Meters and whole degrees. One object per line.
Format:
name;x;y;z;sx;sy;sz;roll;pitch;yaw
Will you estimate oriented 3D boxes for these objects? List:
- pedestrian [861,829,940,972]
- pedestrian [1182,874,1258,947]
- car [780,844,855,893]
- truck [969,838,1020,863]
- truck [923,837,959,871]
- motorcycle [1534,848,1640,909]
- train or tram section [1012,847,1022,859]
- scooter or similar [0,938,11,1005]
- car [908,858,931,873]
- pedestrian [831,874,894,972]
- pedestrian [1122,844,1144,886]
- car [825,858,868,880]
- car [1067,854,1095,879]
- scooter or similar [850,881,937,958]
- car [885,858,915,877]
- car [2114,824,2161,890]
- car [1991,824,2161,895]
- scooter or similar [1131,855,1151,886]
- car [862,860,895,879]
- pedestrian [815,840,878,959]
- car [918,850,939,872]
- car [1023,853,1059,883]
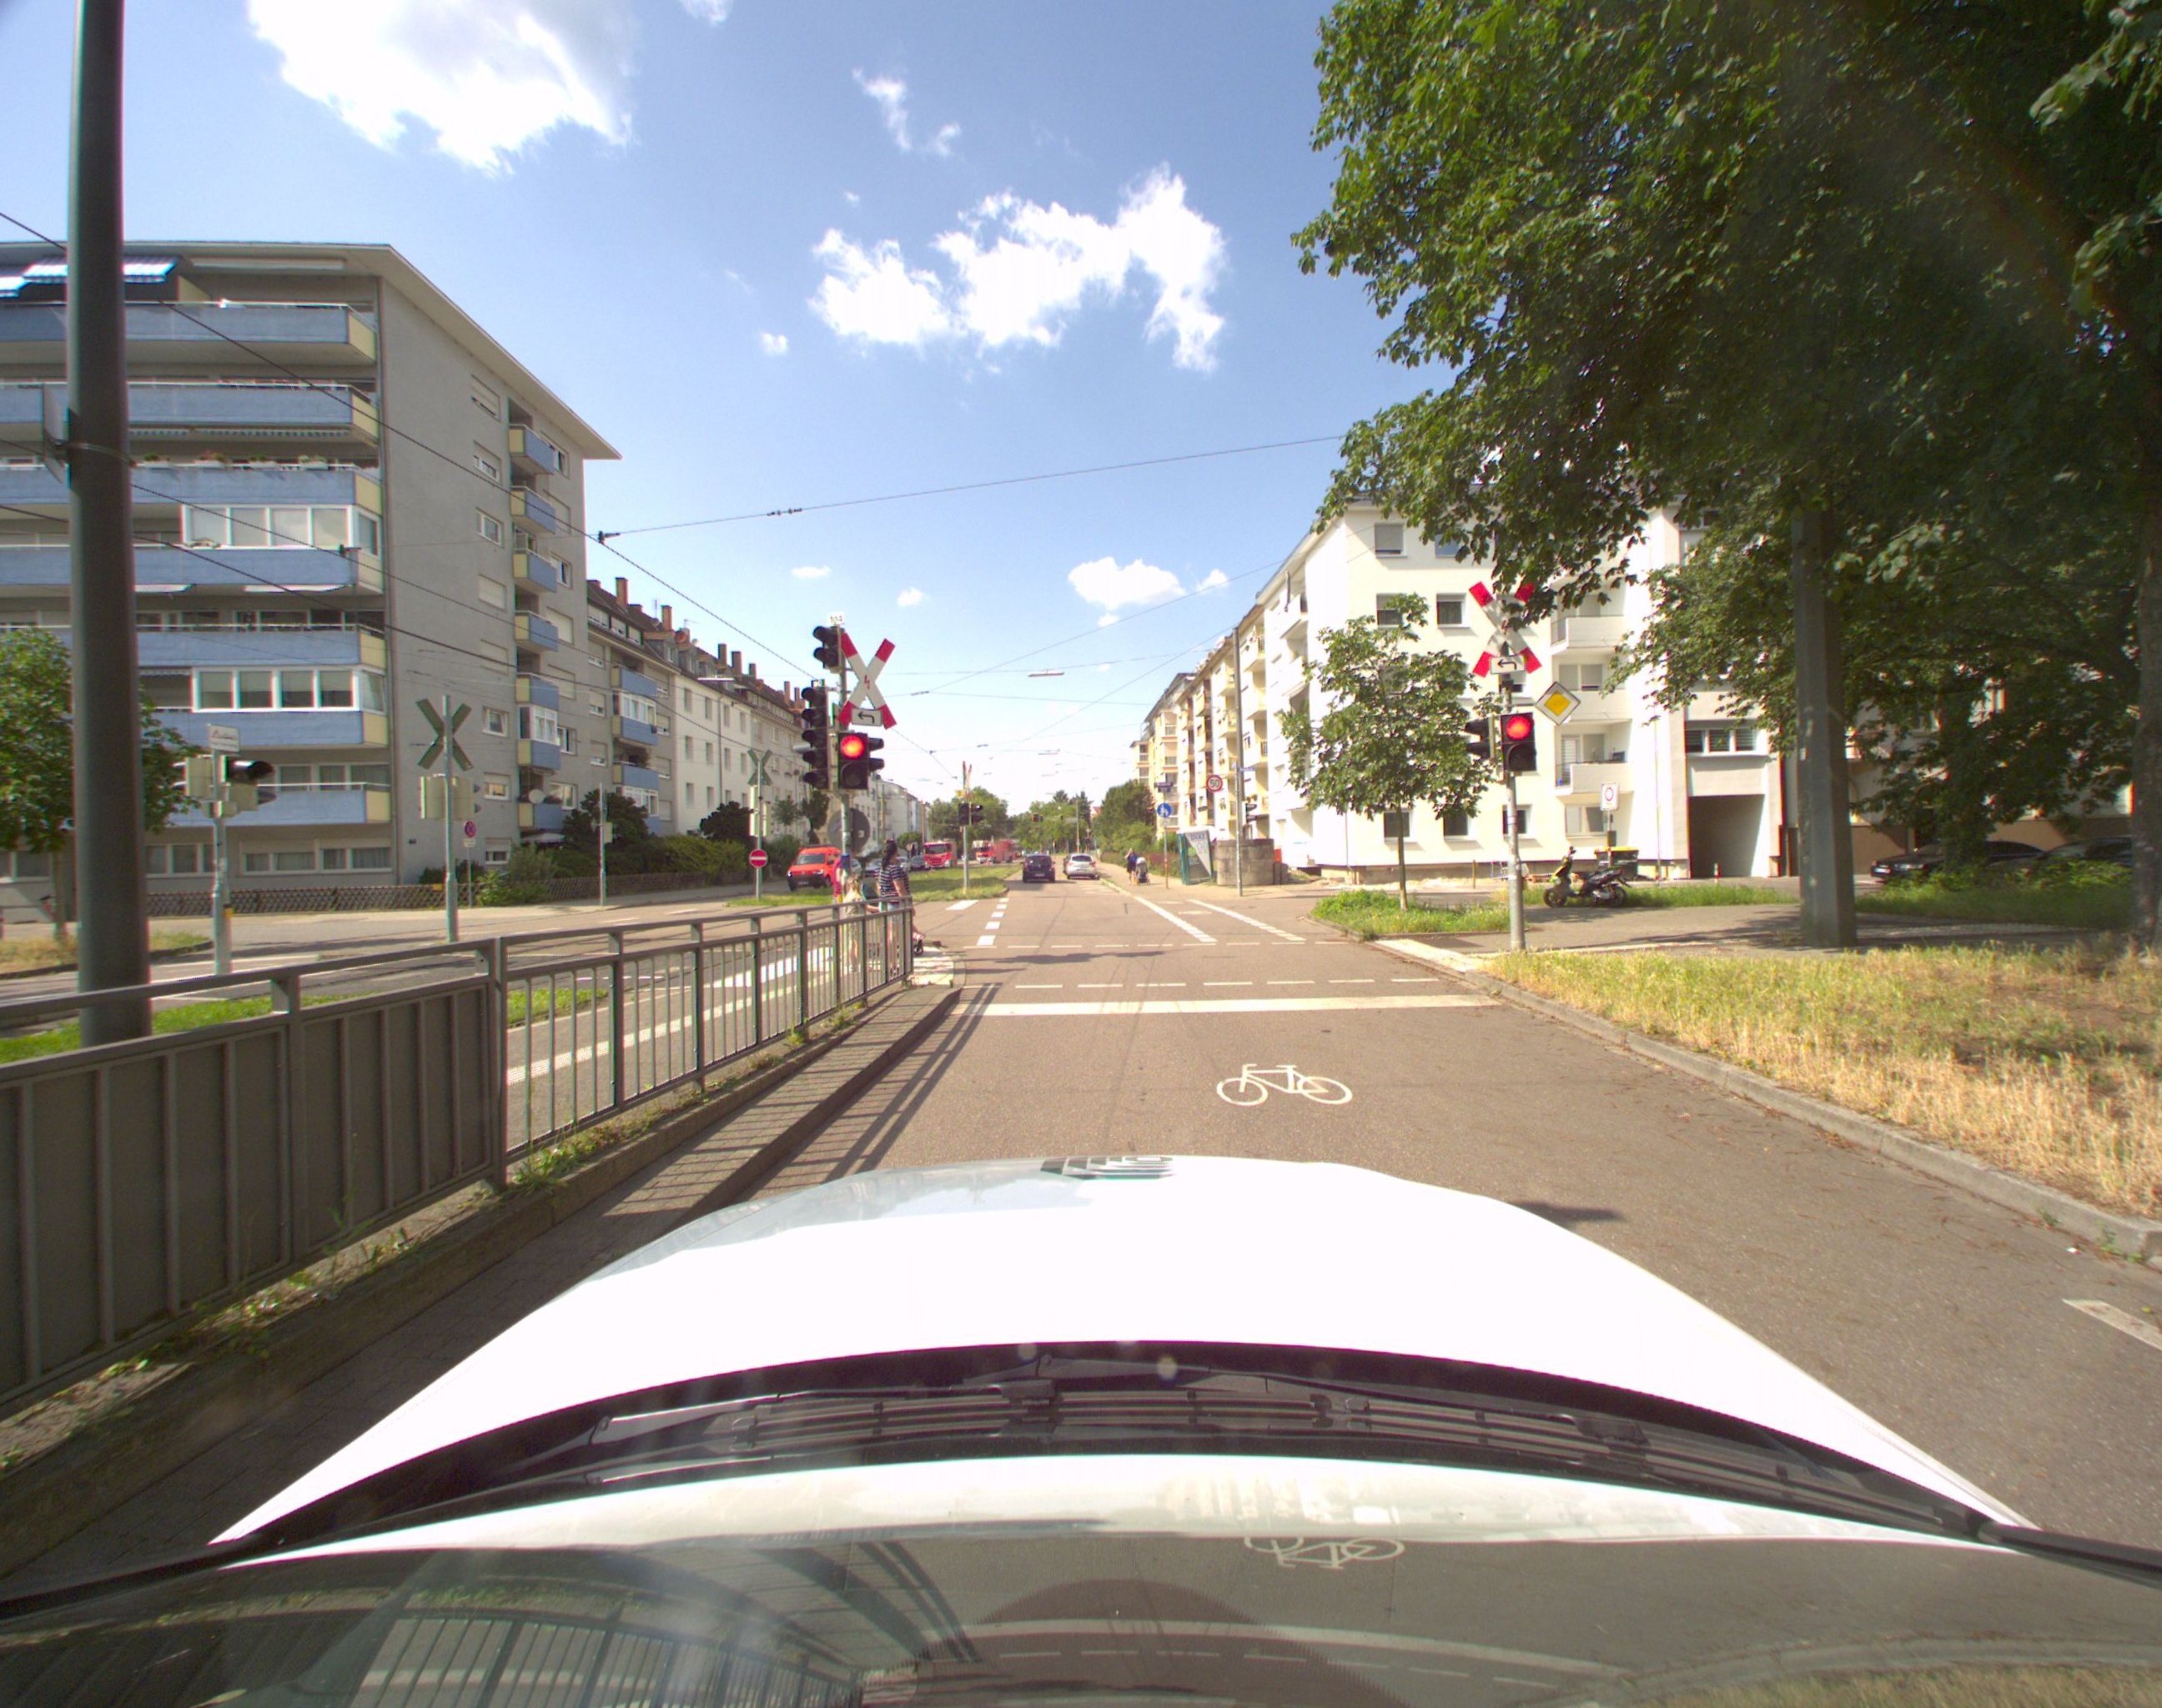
pedestrian;-2.250;0.546;10.089;0.847;1.667;0.794;-2;-1;-17
pedestrian;4.250;1.682;25.524;1.984;2.014;4.004;0;0;4
car;-13.260;0.689;41.358;1.986;2.275;4.836;-2;0;2
truck;-12.312;-0.445;117.257;2.643;3.470;10.222;0;0;22
truck;-14.263;0.028;83.485;2.591;3.186;8.372;-1;0;-3
motorcycle;11.042;0.543;17.840;0.574;1.215;1.829;-6;1;-30
train or tram section;-16.517;-0.193;209.552;2.254;3.069;8.122;-2;0;-4
scooter or similar;-11.666;1.259;8.348;0.441;0.698;0.701;-2;0;3
car;-17.085;1.199;86.391;1.772;1.557;3.995;0;0;-3
pedestrian;-2.834;0.869;10.543;0.639;1.180;0.792;-2;-1;-24
pedestrian;2.326;0.477;36.592;0.699;1.789;1.029;-4;0;-4
car;-15.929;0.989;55.495;1.762;1.441;3.999;0;0;0
car;-0.004;0.750;48.917;1.617;1.465;3.509;0;0;-1
scooter or similar;-2.683;0.933;11.743;1.097;1.056;0.650;0;-1;-2
car;-16.930;1.238;76.391;1.988;1.711;3.997;0;0;-2
car;26.031;0.051;17.978;1.794;1.539;4.013;-2;0;11
car;23.224;0.091;18.021;1.733;1.459;4.001;-2;0;1
scooter or similar;2.621;0.702;35.706;0.661;1.303;0.867;-5;0;-4
car;-16.226;1.208;65.472;1.763;1.441;3.997;0;0;-2
pedestrian;-3.360;0.638;11.717;0.703;1.648;0.636;1;-1;-1
car;-17.384;0.810;93.225;1.772;2.400;4.689;0;0;-3
car;-2.124;0.736;44.226;1.738;1.507;4.000;0;0;0
